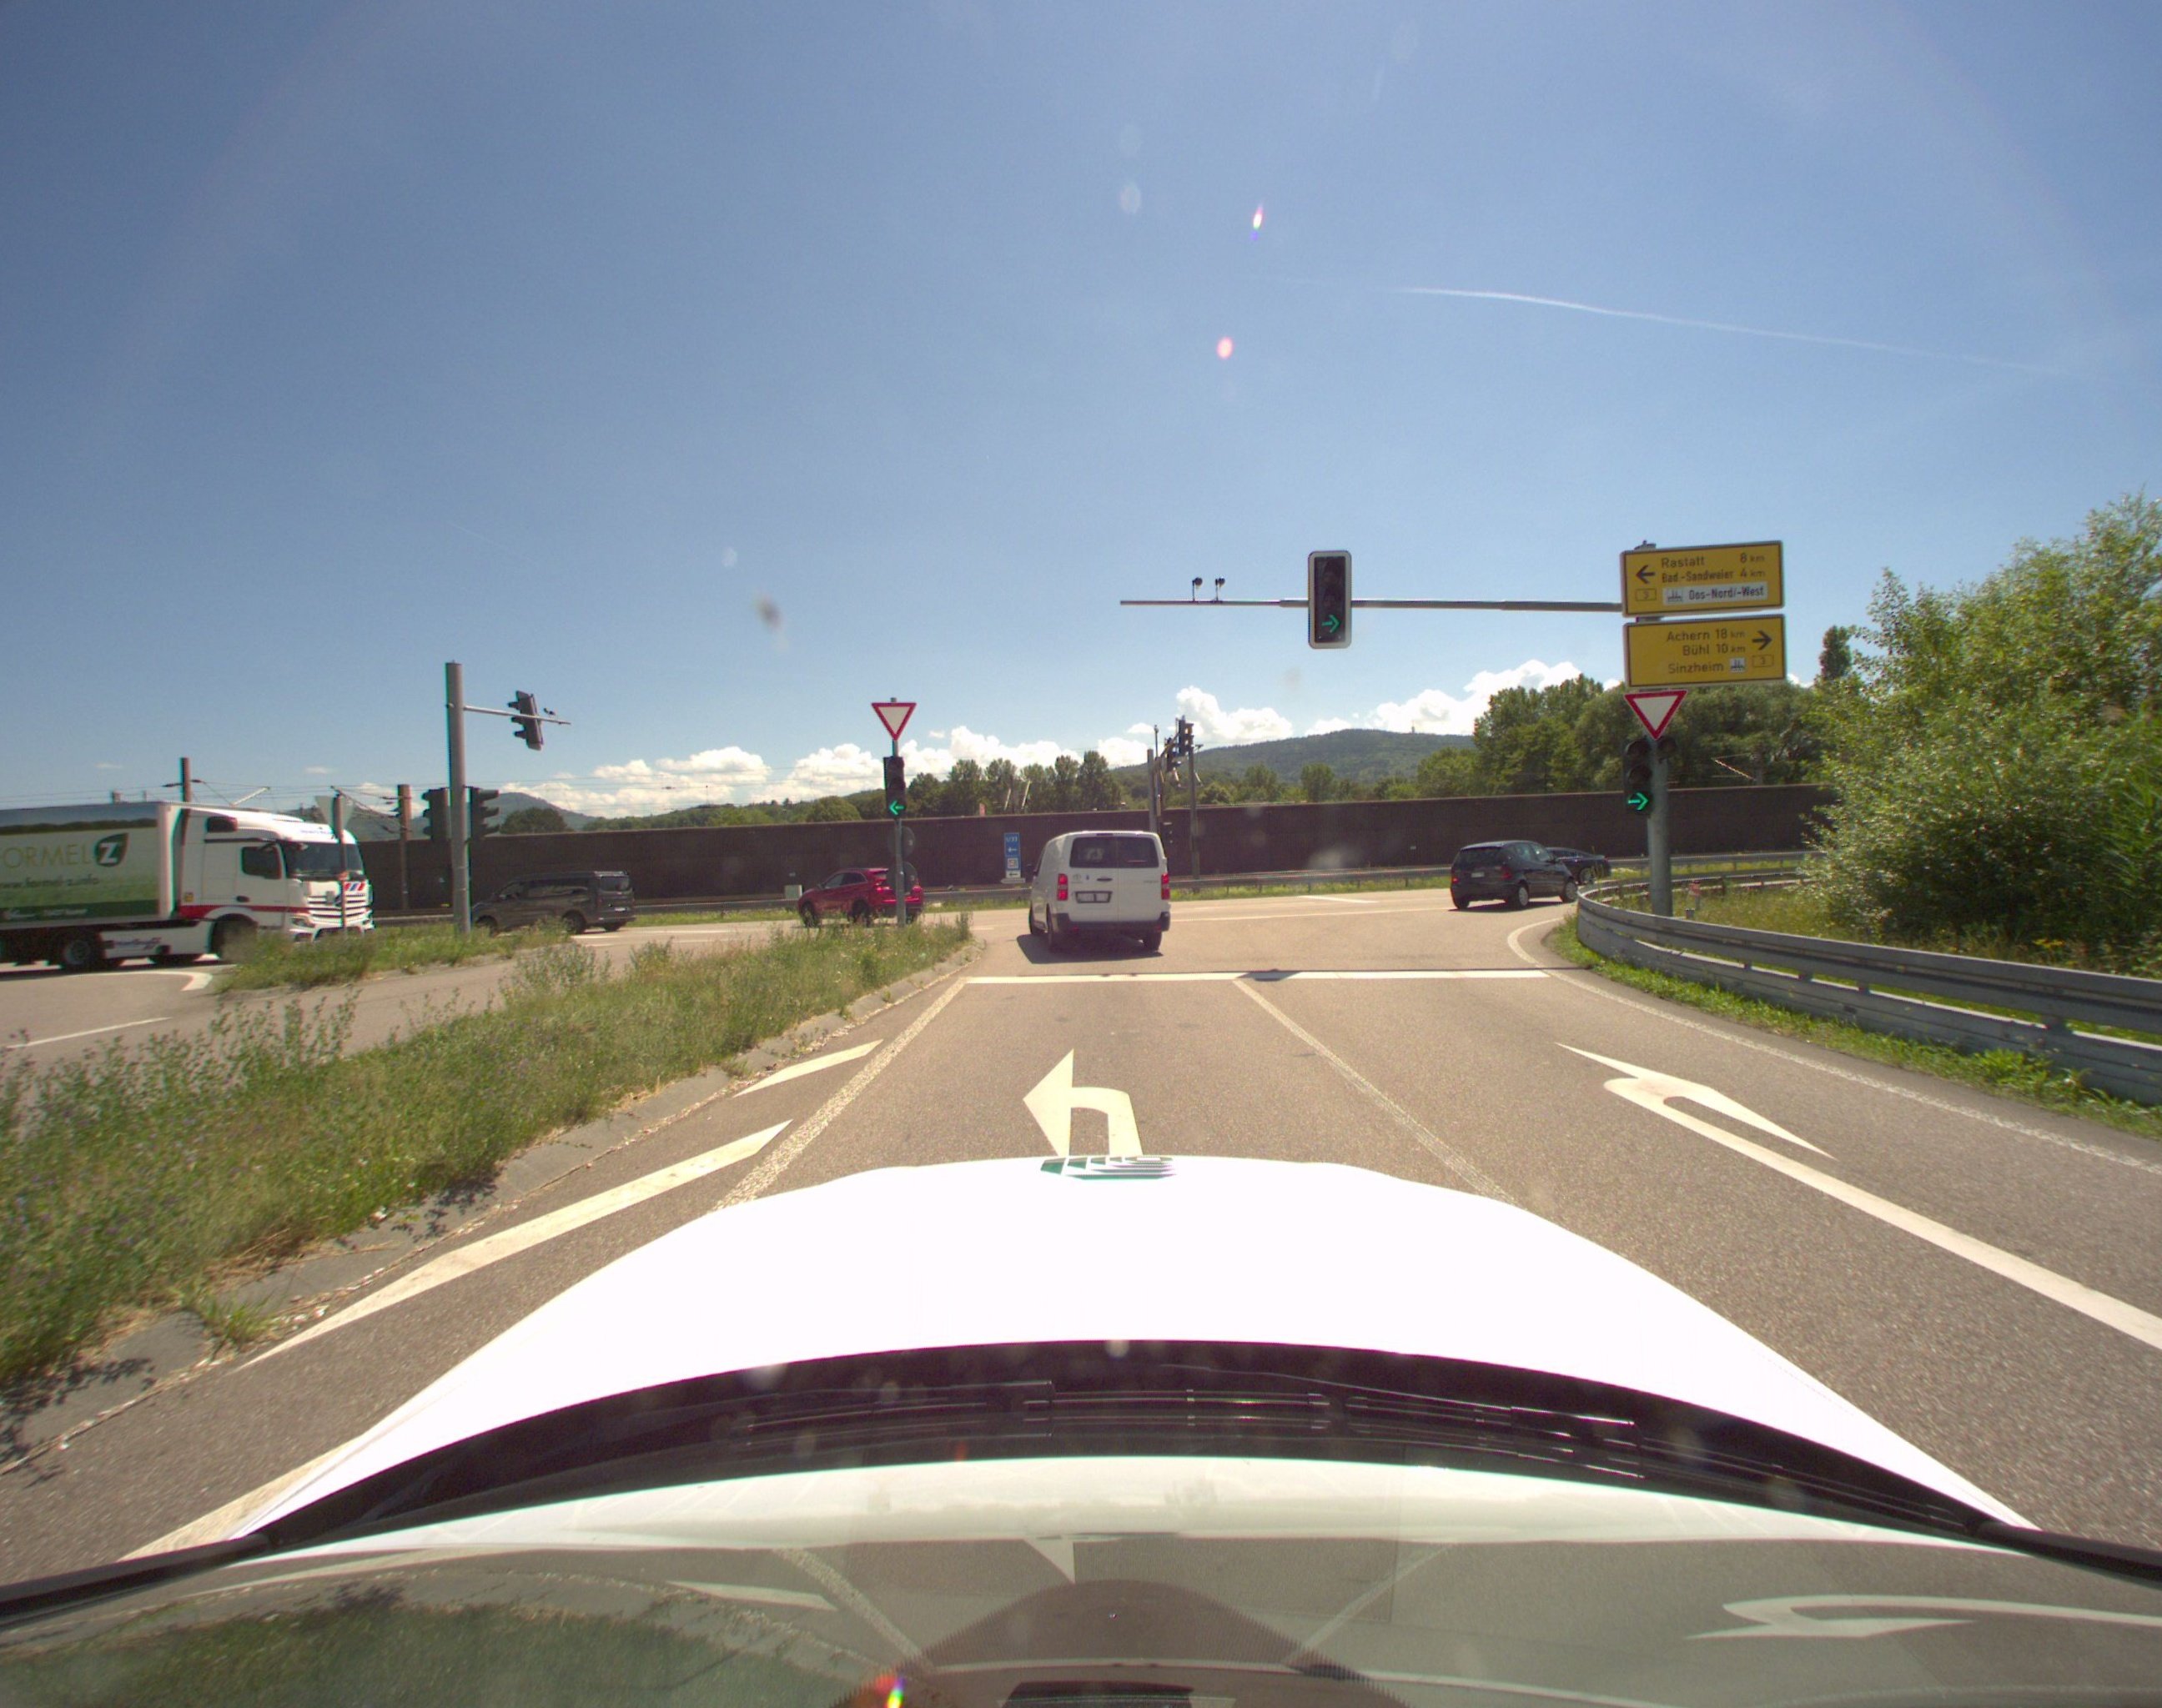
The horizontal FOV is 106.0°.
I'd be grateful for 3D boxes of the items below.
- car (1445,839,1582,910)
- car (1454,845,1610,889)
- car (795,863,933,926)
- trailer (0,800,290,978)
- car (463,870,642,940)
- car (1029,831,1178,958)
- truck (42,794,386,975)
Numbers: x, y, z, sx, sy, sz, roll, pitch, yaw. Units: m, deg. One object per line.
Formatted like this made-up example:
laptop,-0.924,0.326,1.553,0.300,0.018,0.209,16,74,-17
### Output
car,10.767,0.462,20.212,3.577,1.597,1.625,-1,0,-37
car,16.426,0.473,29.815,4.620,1.364,1.912,-2,-2,-2
car,-6.433,1.207,23.933,4.088,1.649,1.924,-4,-3,41
trailer,-28.725,1.133,20.801,14.038,4.045,2.696,-3,-2,-1
car,-17.638,1.676,27.295,4.744,2.022,2.017,-3,-2,5
car,0.196,0.614,14.759,1.944,1.881,4.868,-1,0,-7
truck,-22.035,0.764,20.973,5.790,4.045,2.697,-3,-2,-1
